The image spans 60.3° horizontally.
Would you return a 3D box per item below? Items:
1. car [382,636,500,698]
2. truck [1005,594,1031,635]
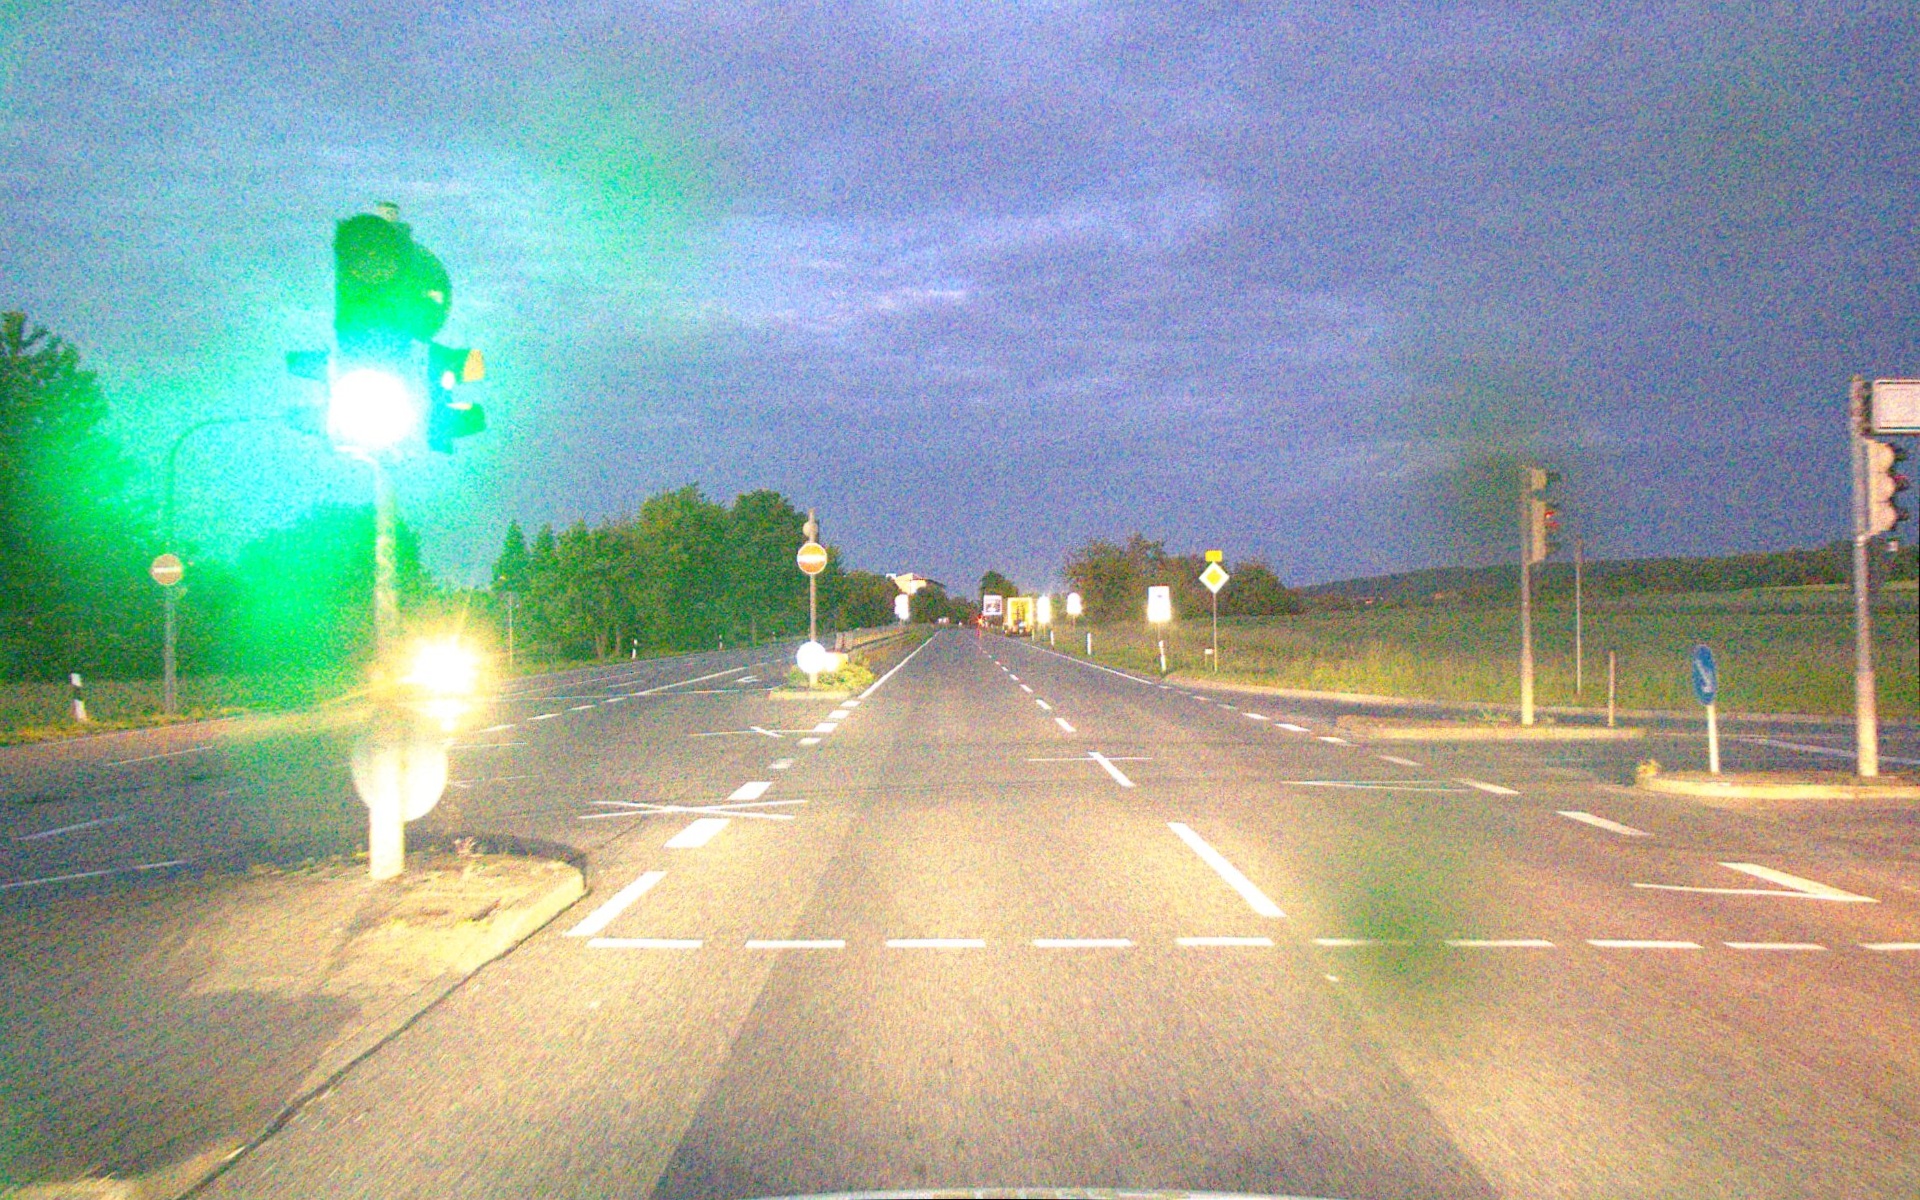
[{"bbox_3d":[-12.413,1.570,39.778,1.618,1.409,4.028,0,-1,-1],"label":"car"},{"bbox_3d":[6.014,1.478,172.854,2.526,4.143,6.130,1,0,1],"label":"truck"}]
